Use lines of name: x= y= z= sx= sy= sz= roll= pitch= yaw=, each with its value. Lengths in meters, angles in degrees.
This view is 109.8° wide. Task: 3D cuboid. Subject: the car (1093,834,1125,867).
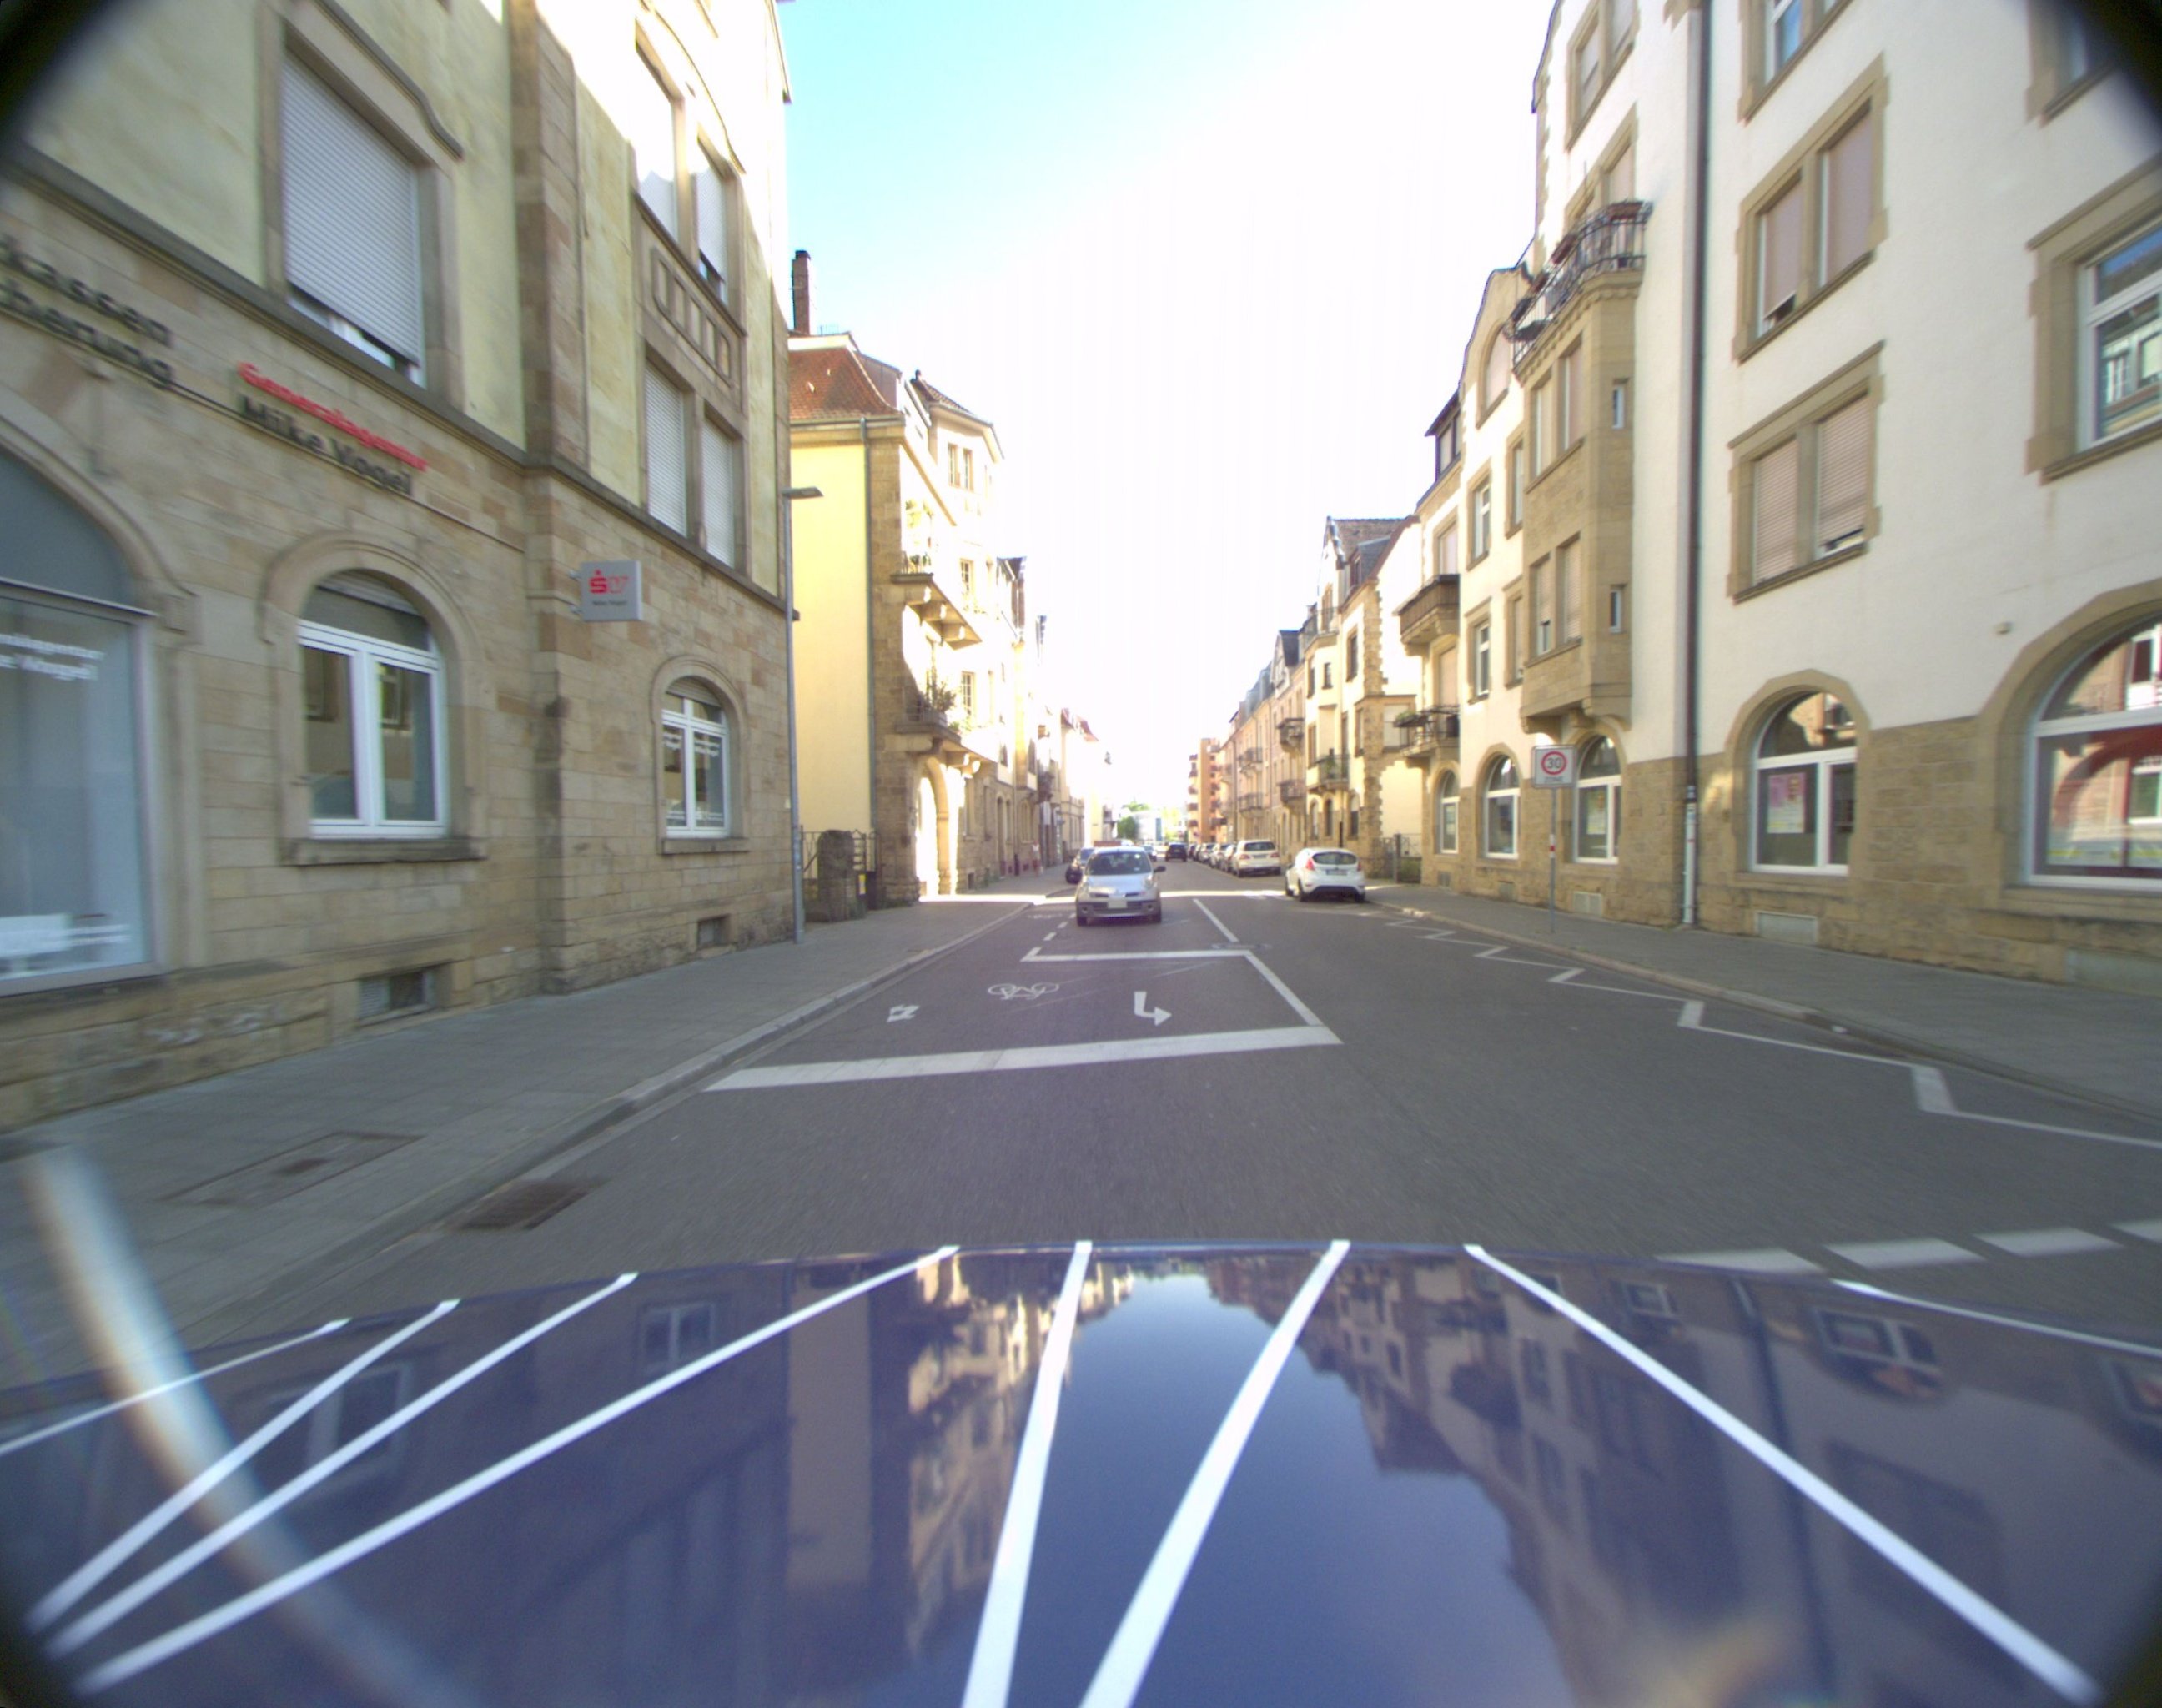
car: x=1.915 y=-0.258 z=51.271 sx=1.832 sy=2.023 sz=3.820 roll=-3 pitch=1 yaw=5

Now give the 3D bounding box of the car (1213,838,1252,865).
car: x=9.501 y=-0.195 z=47.905 sx=1.916 sy=1.509 sz=4.347 roll=-4 pitch=2 yaw=6

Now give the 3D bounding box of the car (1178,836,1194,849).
car: x=14.687 y=-1.593 z=106.740 sx=1.917 sy=1.615 sz=4.346 roll=-4 pitch=2 yaw=4

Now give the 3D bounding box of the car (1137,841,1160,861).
car: x=6.133 y=-0.325 z=68.842 sx=1.876 sy=1.657 sz=4.001 roll=-2 pitch=2 yaw=6

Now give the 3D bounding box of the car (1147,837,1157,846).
car: x=14.352 y=-2.515 z=153.286 sx=1.876 sy=1.657 sz=4.001 roll=-2 pitch=2 yaw=6

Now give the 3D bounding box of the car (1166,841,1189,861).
car: x=8.682 y=-0.324 z=68.376 sx=1.916 sy=1.718 sz=4.348 roll=0 pitch=1 yaw=7

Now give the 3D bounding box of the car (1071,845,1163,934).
car: x=0.786 y=0.630 z=15.670 sx=1.651 sy=1.559 sz=3.616 roll=-1 pitch=1 yaw=4

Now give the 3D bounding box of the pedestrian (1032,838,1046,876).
pedestrian: x=-1.954 y=0.136 z=35.416 sx=0.578 sy=1.712 sz=0.698 roll=1 pitch=2 yaw=6

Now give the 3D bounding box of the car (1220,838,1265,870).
car: x=8.867 y=-0.032 z=42.082 sx=1.916 sy=1.509 sz=4.347 roll=-4 pitch=2 yaw=6

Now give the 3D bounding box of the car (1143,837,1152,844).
car: x=16.600 y=-3.417 z=189.707 sx=1.876 sy=1.657 sz=4.001 roll=-2 pitch=2 yaw=6

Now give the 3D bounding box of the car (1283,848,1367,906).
car: x=6.733 y=0.573 z=21.293 sx=1.555 sy=1.403 sz=3.572 roll=1 pitch=1 yaw=7

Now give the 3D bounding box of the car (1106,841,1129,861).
car: x=3.095 y=-0.280 z=63.910 sx=1.833 sy=1.586 sz=3.820 roll=-3 pitch=1 yaw=4

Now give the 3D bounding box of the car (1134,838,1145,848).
car: x=10.771 y=-2.014 z=139.161 sx=1.876 sy=1.657 sz=4.001 roll=-2 pitch=2 yaw=6

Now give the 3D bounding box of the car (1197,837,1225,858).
car: x=10.518 y=-0.553 z=61.655 sx=1.916 sy=1.509 sz=4.347 roll=-4 pitch=2 yaw=6

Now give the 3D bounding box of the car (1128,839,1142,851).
car: x=8.209 y=-1.357 z=115.733 sx=1.876 sy=1.657 sz=4.001 roll=-2 pitch=2 yaw=6

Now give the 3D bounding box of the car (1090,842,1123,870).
car: x=1.602 y=0.078 z=46.814 sx=1.833 sy=1.586 sz=3.820 roll=-3 pitch=1 yaw=4

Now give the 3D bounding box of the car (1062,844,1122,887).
car: x=0.518 y=0.422 z=30.842 sx=1.997 sy=1.528 sz=4.001 roll=-3 pitch=1 yaw=6

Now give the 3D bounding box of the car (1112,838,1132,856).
car: x=4.122 y=-0.689 z=76.220 sx=1.833 sy=1.649 sz=3.820 roll=-3 pitch=1 yaw=4

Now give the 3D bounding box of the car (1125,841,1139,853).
car: x=7.352 y=-1.027 z=109.518 sx=1.876 sy=1.657 sz=4.001 roll=-2 pitch=2 yaw=6

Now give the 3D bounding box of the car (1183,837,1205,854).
car: x=11.605 y=-0.894 z=78.390 sx=1.916 sy=1.615 sz=4.347 roll=-4 pitch=2 yaw=6

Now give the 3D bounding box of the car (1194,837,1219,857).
car: x=11.177 y=-0.642 z=68.052 sx=1.916 sy=1.615 sz=4.347 roll=-4 pitch=2 yaw=6

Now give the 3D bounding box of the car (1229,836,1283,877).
car: x=8.257 y=0.063 z=36.124 sx=1.916 sy=1.650 sz=4.347 roll=-4 pitch=2 yaw=6
